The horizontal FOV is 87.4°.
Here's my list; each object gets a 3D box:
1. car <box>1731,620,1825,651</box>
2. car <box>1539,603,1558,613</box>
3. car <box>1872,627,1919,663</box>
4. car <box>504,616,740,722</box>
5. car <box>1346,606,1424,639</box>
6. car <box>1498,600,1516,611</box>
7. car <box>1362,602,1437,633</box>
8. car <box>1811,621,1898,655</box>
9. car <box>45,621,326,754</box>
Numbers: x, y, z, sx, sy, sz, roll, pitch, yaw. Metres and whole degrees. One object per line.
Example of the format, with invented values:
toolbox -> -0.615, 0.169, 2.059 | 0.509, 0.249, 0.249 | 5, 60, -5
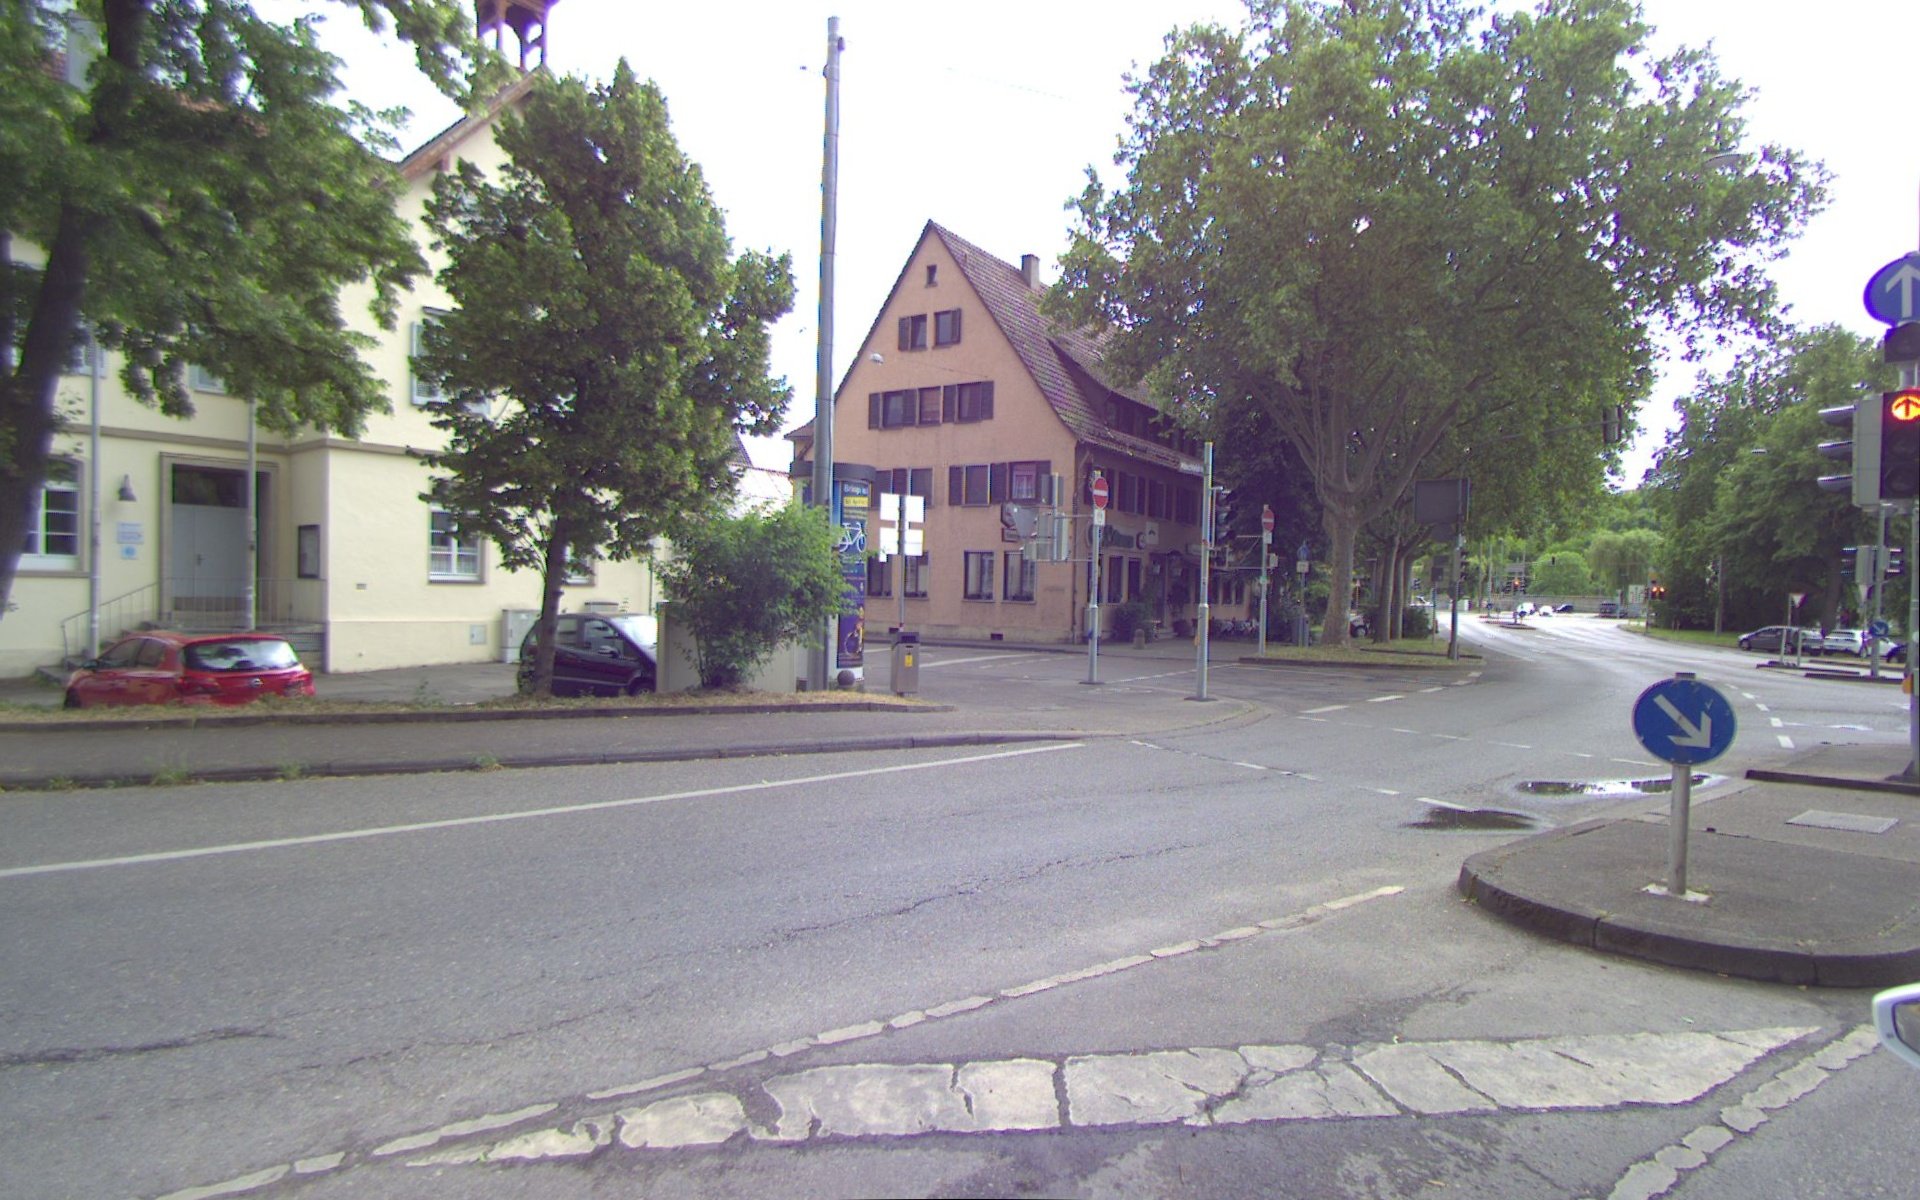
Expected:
car -> 43.818, 1.876, 53.906 | 1.592, 1.485, 3.778 | 2, 0, -11
car -> 90.974, 1.192, 155.331 | 1.469, 1.436, 3.028 | 3, 0, 11
car -> 39.446, 1.860, 40.764 | 1.746, 1.370, 3.326 | 2, 0, -2
car -> -5.534, 1.053, 16.443 | 3.507, 1.459, 1.644 | 2, 0, 26
car -> 23.997, 1.250, 56.707 | 3.924, 1.706, 1.998 | 1, 0, 25
car -> 85.367, 0.890, 156.780 | 1.553, 1.506, 3.337 | 3, 0, 12
car -> 25.729, 1.006, 58.784 | 3.924, 1.706, 1.998 | 1, 0, 25
car -> 47.462, 2.038, 53.325 | 3.696, 1.662, 1.859 | 2, 0, -19
car -> -10.284, 1.049, 13.295 | 3.653, 1.401, 1.659 | 2, 0, 30
